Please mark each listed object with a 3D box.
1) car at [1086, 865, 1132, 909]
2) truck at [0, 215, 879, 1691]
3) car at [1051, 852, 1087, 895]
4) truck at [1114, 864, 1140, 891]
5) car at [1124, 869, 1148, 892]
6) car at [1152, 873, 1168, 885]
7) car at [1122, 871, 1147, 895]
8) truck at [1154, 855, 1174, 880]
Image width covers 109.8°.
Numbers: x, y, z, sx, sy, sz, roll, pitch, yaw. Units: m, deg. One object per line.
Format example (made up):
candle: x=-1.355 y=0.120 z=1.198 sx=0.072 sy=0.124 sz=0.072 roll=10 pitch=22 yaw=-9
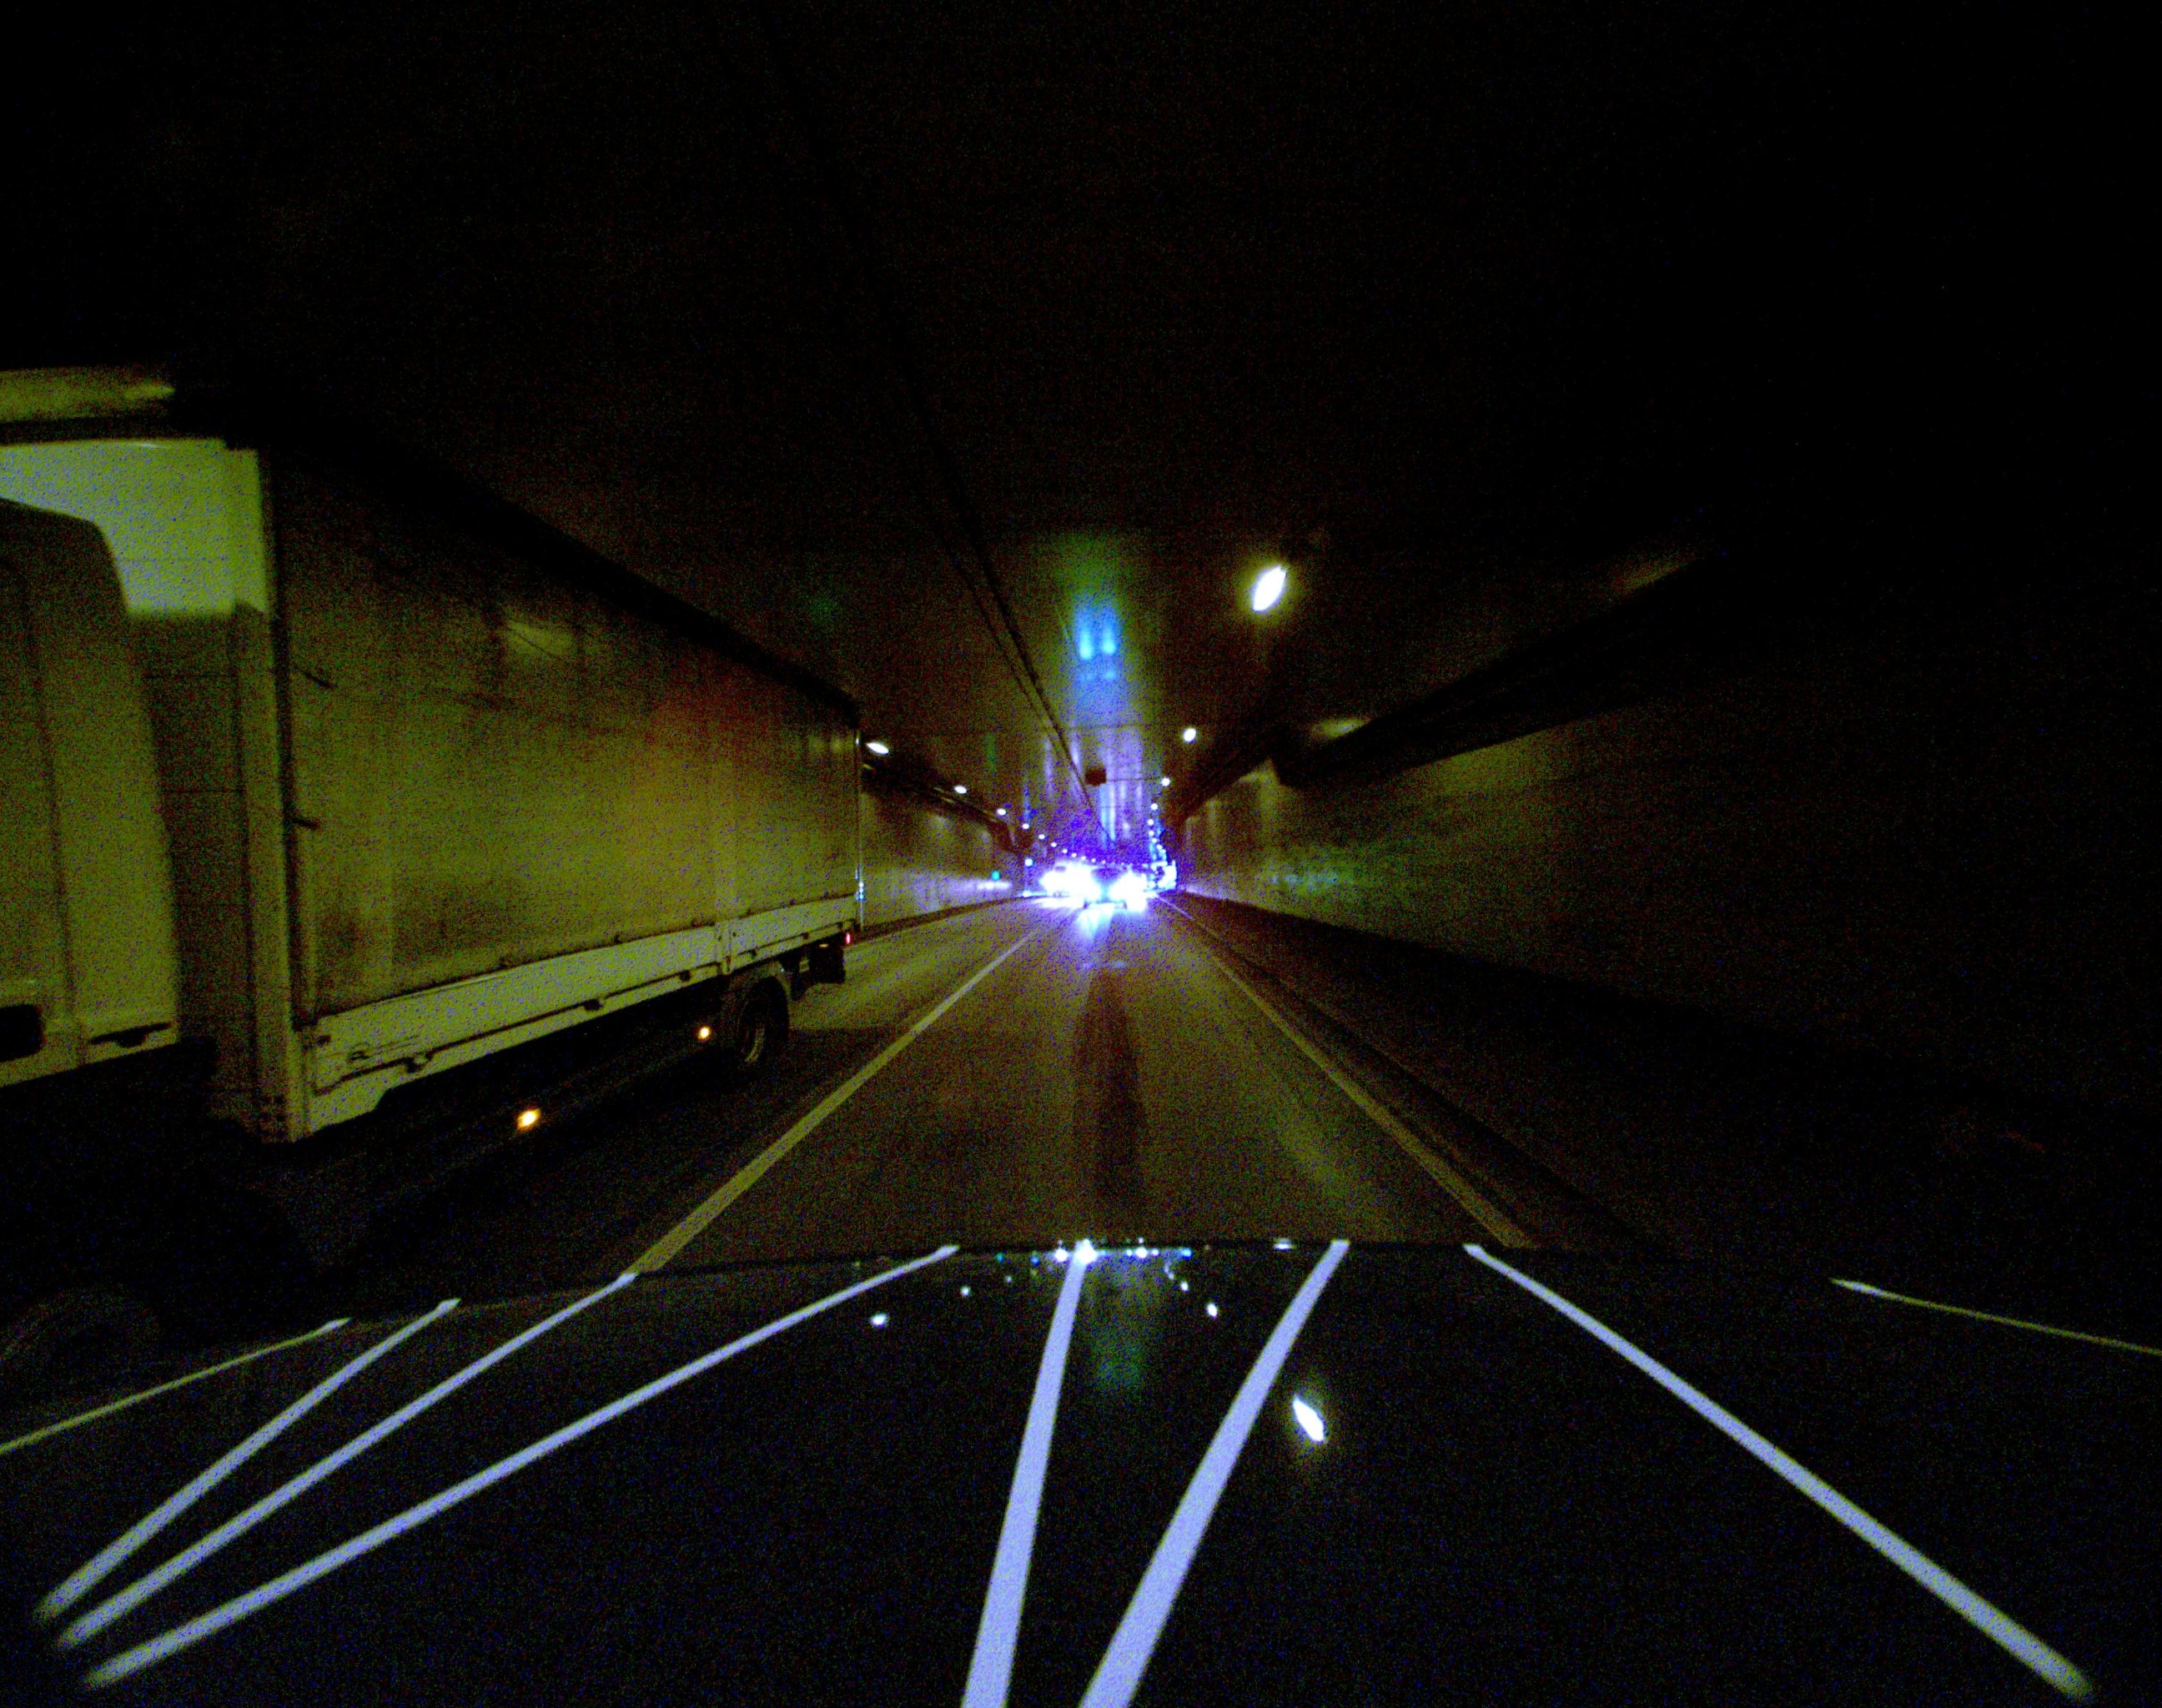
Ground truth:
car: x=1.086 y=1.276 z=29.604 sx=1.639 sy=1.551 sz=3.718 roll=-2 pitch=-2 yaw=2
truck: x=-3.493 y=0.249 z=3.943 sx=2.559 sy=3.162 sz=7.247 roll=-2 pitch=-1 yaw=3
car: x=-0.781 y=1.423 z=54.258 sx=2.106 sy=2.829 sz=6.864 roll=-2 pitch=-2 yaw=2
truck: x=5.139 y=2.528 z=84.487 sx=2.073 sy=2.525 sz=6.027 roll=-5 pitch=1 yaw=9
car: x=5.156 y=2.476 z=70.763 sx=1.934 sy=1.917 sz=4.200 roll=-4 pitch=-3 yaw=6
car: x=12.978 y=4.110 z=124.357 sx=1.948 sy=1.525 sz=4.003 roll=-5 pitch=1 yaw=15
car: x=4.142 y=2.232 z=59.304 sx=1.764 sy=1.551 sz=3.820 roll=-5 pitch=0 yaw=4
truck: x=17.351 y=2.745 z=158.496 sx=2.885 sy=4.446 sz=10.460 roll=-5 pitch=1 yaw=11
